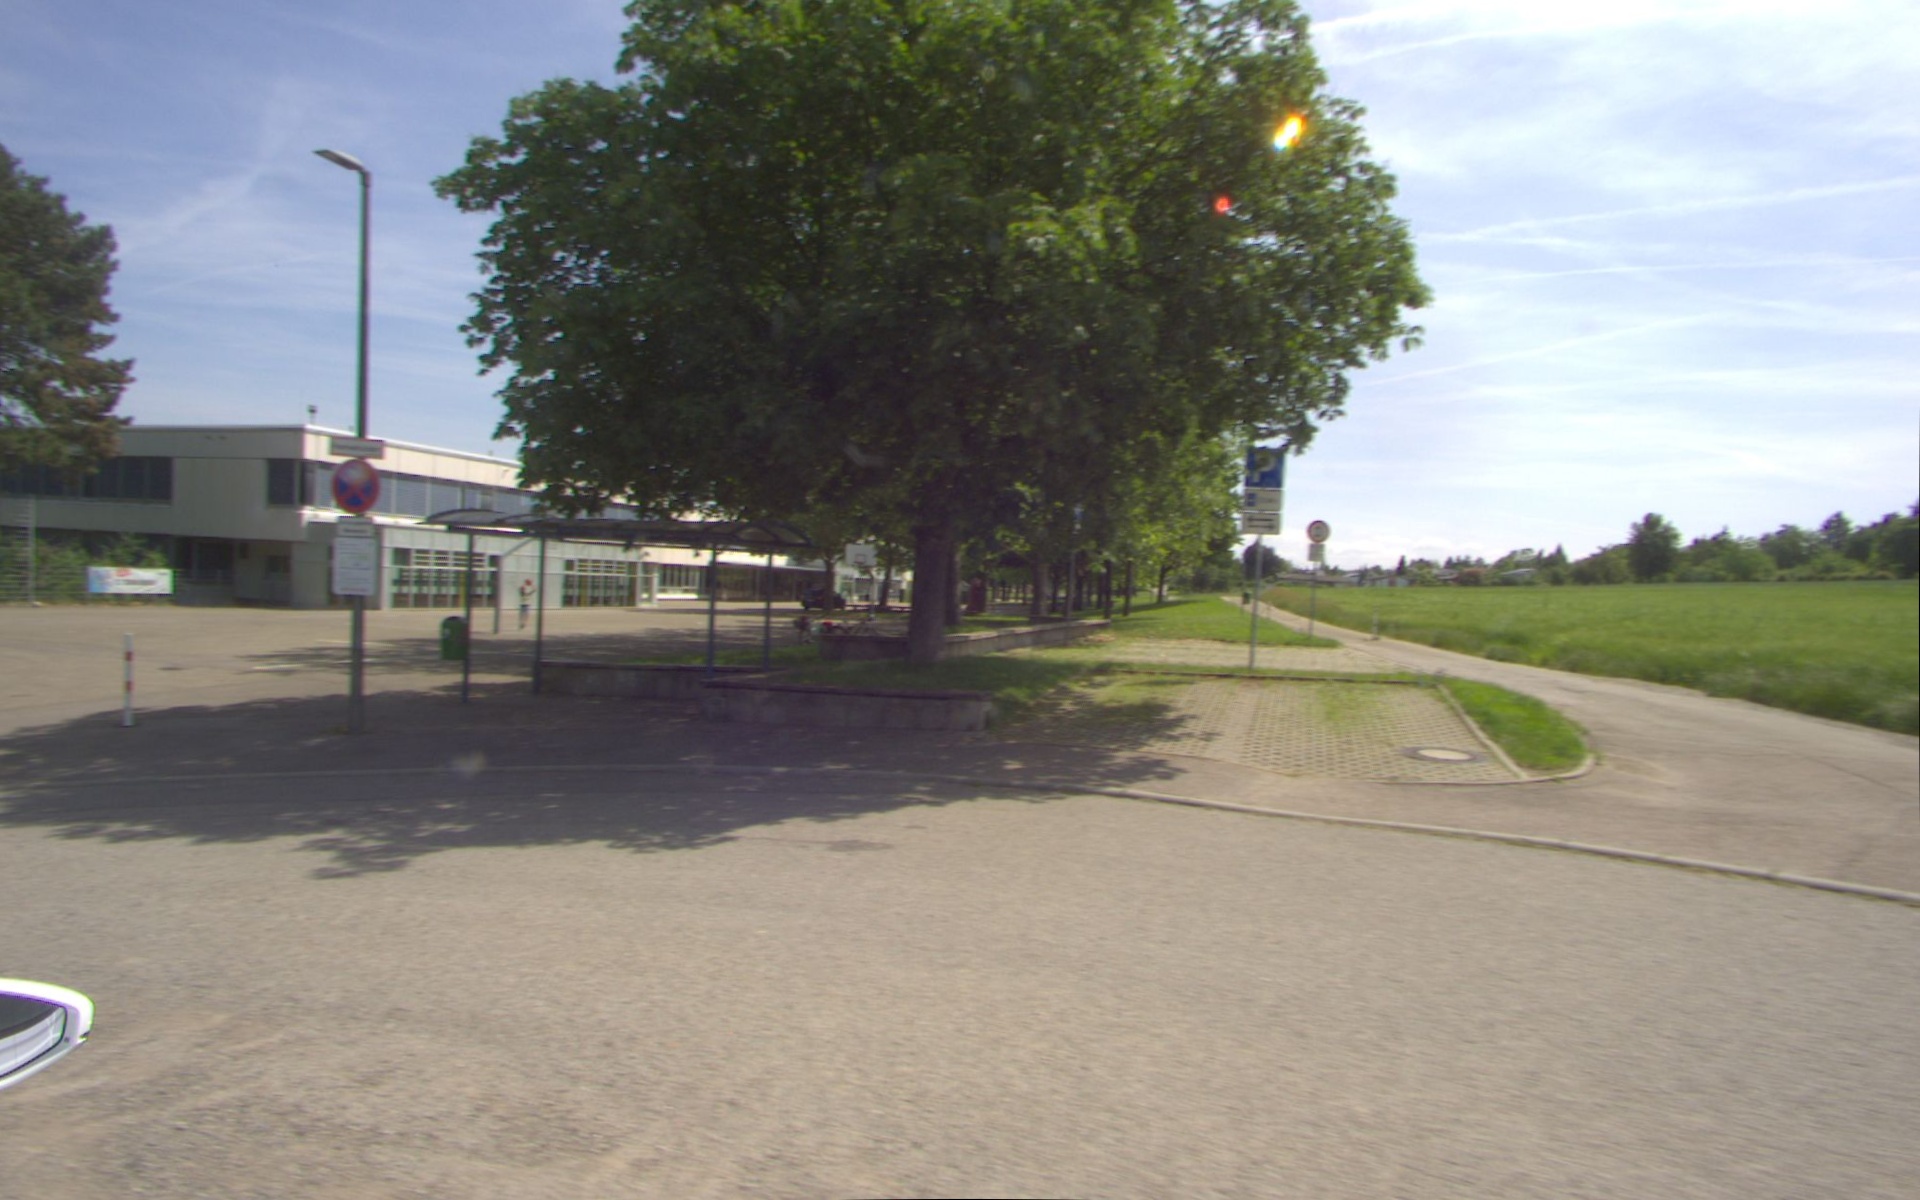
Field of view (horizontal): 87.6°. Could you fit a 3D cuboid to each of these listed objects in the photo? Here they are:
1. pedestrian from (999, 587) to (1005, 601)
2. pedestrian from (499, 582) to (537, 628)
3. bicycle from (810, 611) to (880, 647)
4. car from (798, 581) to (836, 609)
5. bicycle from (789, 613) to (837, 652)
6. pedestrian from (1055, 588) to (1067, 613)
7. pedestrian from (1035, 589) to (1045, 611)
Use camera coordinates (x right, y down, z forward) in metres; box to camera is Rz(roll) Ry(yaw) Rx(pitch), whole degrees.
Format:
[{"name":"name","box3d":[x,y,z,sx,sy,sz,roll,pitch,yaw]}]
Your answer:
[{"name":"pedestrian","box3d":[6.245,-0.925,150.127,0.711,2.040,0.682,-1,0,12]},{"name":"pedestrian","box3d":[-14.259,0.159,32.332,1.052,1.442,0.916,2,1,-23]},{"name":"bicycle","box3d":[-3.448,0.870,30.163,2.028,1.053,0.572,1,1,2]},{"name":"car","box3d":[-9.759,-0.321,68.410,1.664,1.859,3.410,2,0,7]},{"name":"bicycle","box3d":[-4.114,0.895,28.197,0.586,1.053,1.890,1,0,17]},{"name":"pedestrian","box3d":[8.659,0.047,85.643,0.674,2.040,0.800,2,1,-23]},{"name":"pedestrian","box3d":[7.471,-0.014,93.474,0.819,2.040,0.691,2,1,-7]}]
